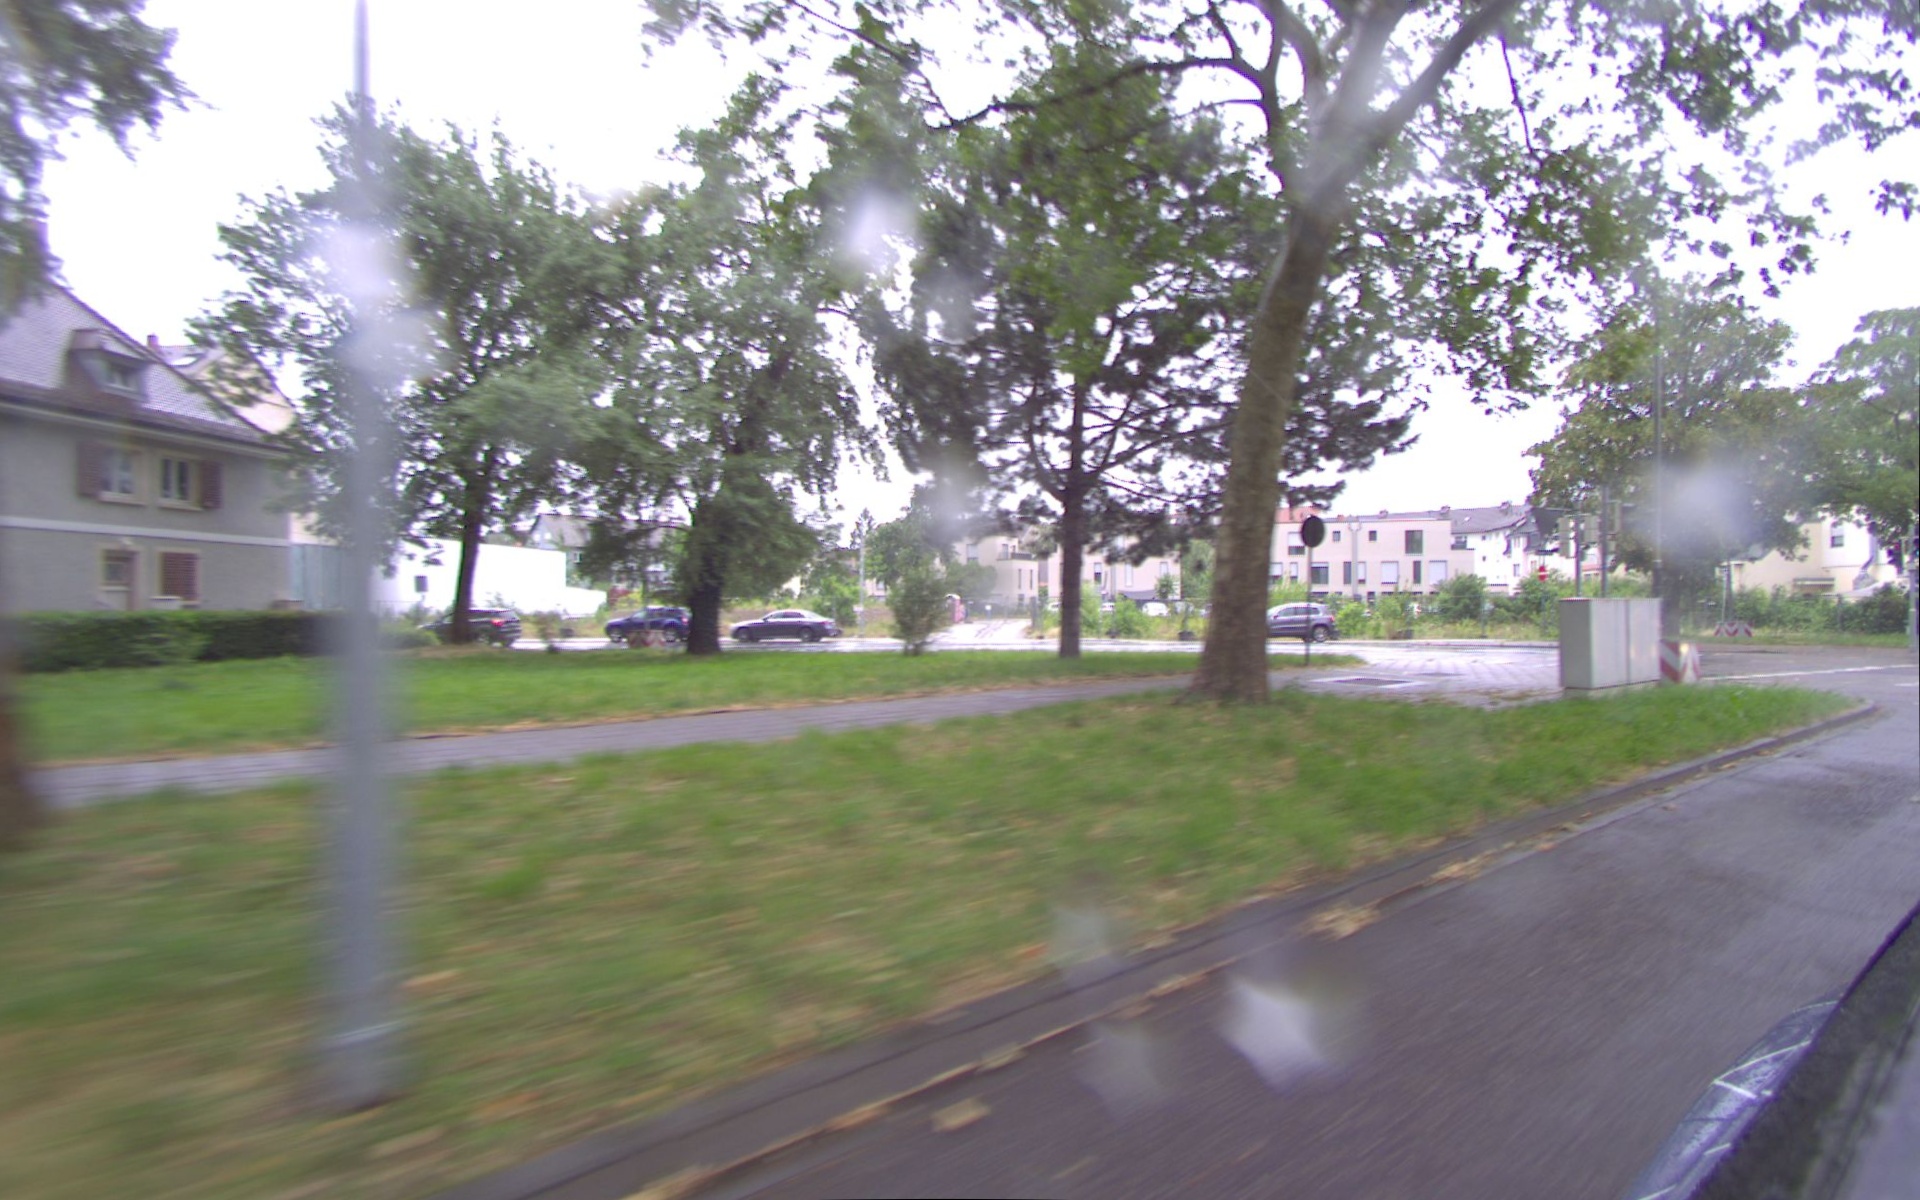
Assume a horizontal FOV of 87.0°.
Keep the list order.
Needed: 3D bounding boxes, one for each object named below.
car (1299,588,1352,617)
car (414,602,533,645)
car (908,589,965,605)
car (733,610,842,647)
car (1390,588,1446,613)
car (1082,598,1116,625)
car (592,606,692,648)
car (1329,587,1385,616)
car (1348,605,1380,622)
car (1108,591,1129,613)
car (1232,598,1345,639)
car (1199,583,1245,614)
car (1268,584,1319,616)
[{"bbox_3d":[24.883,0.178,69.030,1.961,1.883,4.002,-1,-1,-3],"label":"car"},{"bbox_3d":[-20.932,1.000,43.632,4.230,1.766,1.996,-1,-1,7],"label":"car"},{"bbox_3d":[-1.892,-0.238,81.390,4.337,1.150,1.760,-1,-1,16],"label":"car"},{"bbox_3d":[-7.722,1.267,45.507,4.452,1.568,1.976,-1,-1,7],"label":"car"},{"bbox_3d":[31.599,0.065,69.944,1.872,1.705,4.002,-1,-1,-3],"label":"car"},{"bbox_3d":[11.131,0.935,81.103,1.961,2.039,4.002,-1,-1,-3],"label":"car"},{"bbox_3d":[-14.585,1.224,46.515,4.018,1.833,1.878,-1,-1,7],"label":"car"},{"bbox_3d":[27.043,0.144,69.063,1.961,1.883,4.002,-1,-1,-3],"label":"car"},{"bbox_3d":[32.652,1.104,81.906,1.740,1.360,4.077,-1,-1,12],"label":"car"},{"bbox_3d":[14.870,0.213,95.041,1.642,1.938,3.993,-1,-1,6],"label":"car"},{"bbox_3d":[14.168,0.791,43.815,4.225,1.676,1.859,-1,-1,2],"label":"car"},{"bbox_3d":[18.279,-0.072,70.693,1.961,2.039,4.002,-1,-1,-3],"label":"car"},{"bbox_3d":[22.579,0.025,68.644,1.961,2.039,4.002,-1,-1,-3],"label":"car"}]
